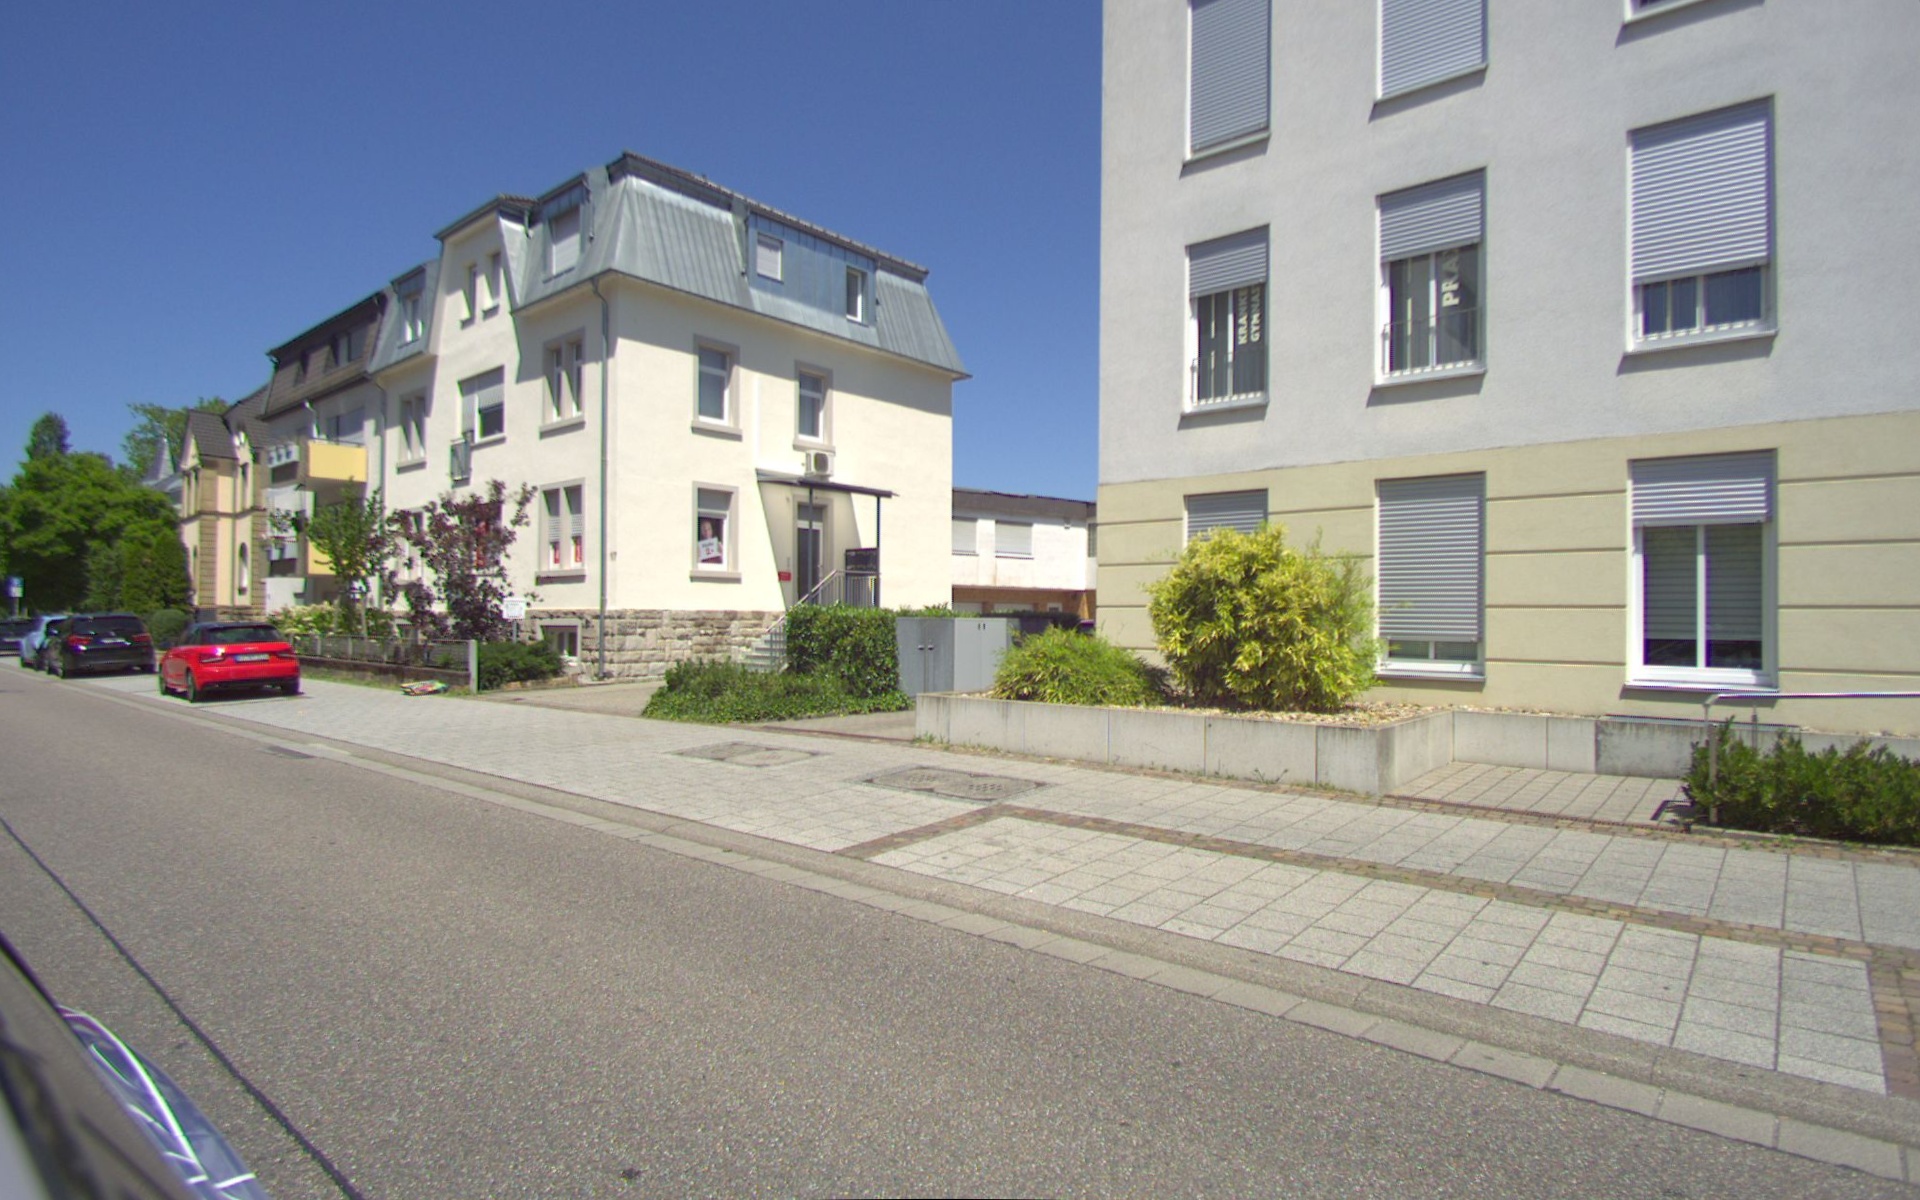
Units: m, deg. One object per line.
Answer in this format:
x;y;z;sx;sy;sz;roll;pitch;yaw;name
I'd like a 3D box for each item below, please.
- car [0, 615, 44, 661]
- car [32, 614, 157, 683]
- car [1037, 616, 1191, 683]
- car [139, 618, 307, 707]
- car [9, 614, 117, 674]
-37.766;1.491;39.994;4.287;1.703;1.900;-1;1;43;car
-22.917;1.214;26.747;4.434;1.598;1.900;-1;1;42;car
3.805;1.148;24.494;1.875;1.486;4.131;-1;-2;39;car
-14.260;1.115;19.499;4.258;1.463;1.714;-1;1;42;car
-27.017;1.276;30.436;4.285;1.598;1.900;-1;1;42;car
